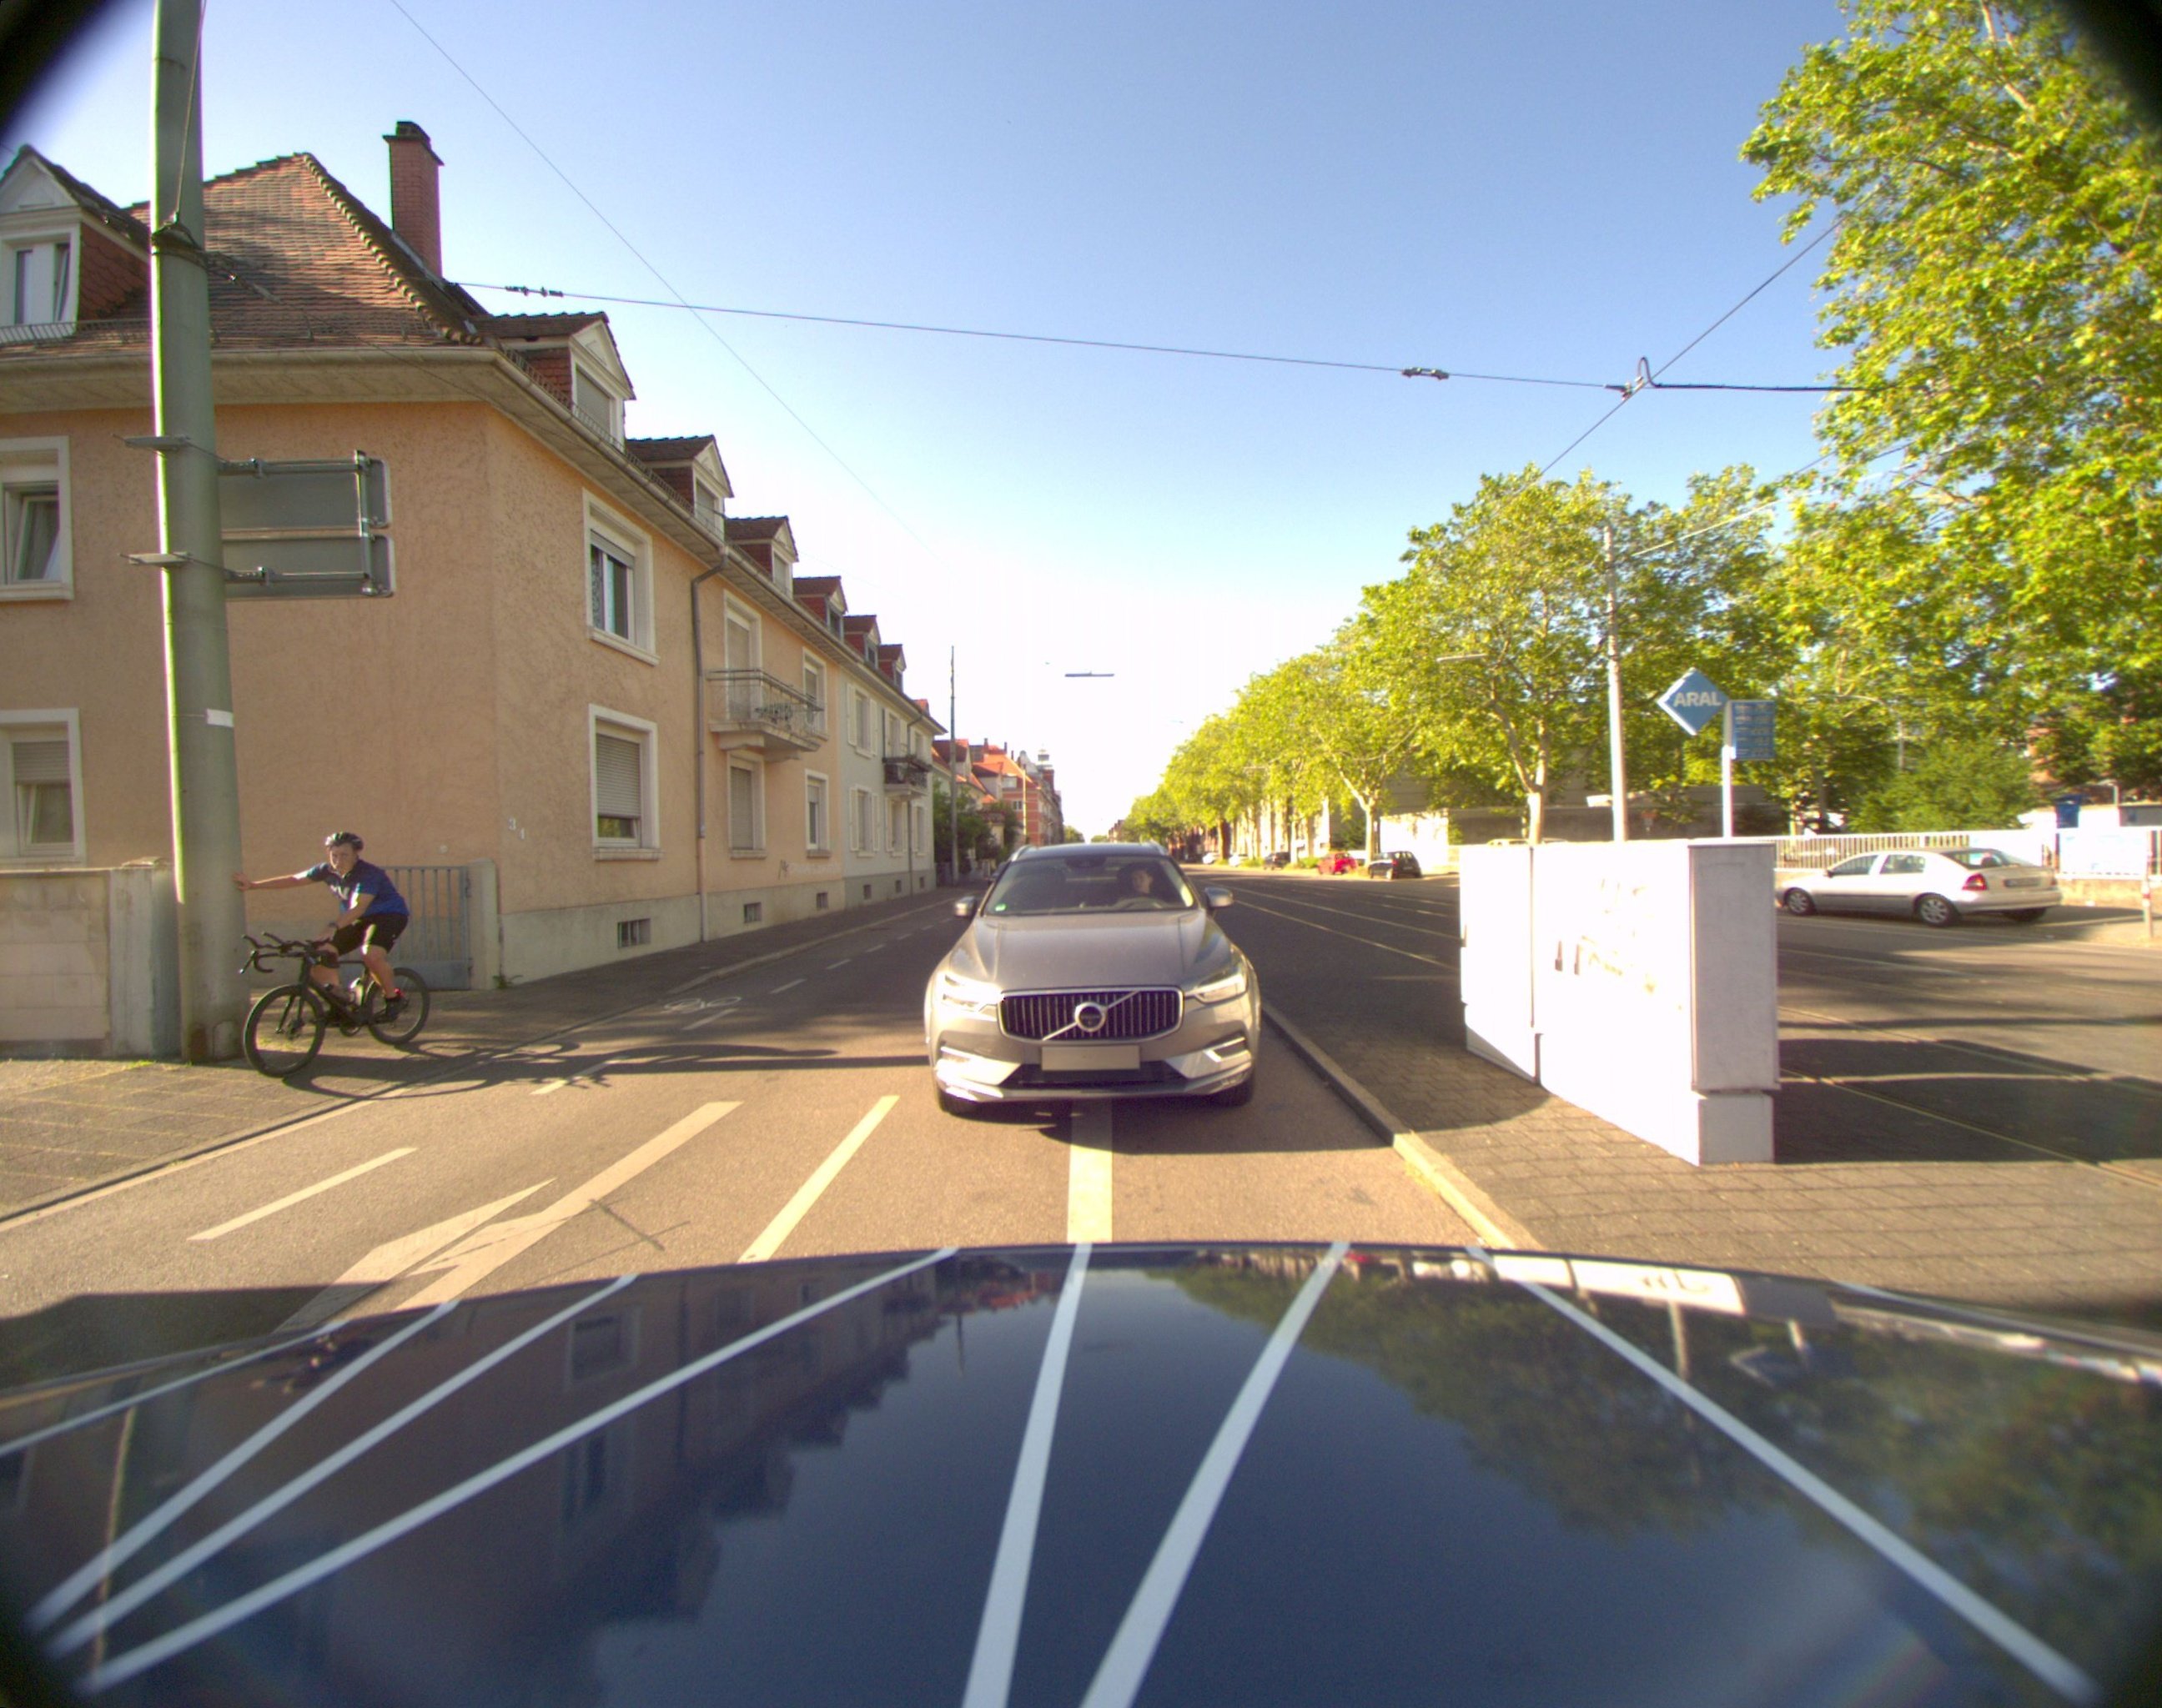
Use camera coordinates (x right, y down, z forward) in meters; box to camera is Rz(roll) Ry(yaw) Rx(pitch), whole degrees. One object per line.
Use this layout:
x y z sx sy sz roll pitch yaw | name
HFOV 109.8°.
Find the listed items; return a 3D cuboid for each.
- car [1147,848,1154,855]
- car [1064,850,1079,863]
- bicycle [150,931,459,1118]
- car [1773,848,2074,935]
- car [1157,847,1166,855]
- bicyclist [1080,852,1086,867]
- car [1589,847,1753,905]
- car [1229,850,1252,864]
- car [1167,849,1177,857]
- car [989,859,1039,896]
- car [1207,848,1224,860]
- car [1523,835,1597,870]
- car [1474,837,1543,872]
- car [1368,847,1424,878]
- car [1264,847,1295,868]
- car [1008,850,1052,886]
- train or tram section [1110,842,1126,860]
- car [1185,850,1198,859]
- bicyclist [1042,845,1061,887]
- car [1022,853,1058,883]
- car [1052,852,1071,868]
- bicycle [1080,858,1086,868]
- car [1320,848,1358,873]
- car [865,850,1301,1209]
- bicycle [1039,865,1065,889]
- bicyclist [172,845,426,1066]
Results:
19.682 -0.634 214.805 1.695 1.775 3.749 -3 0 1 | car
-1.275 0.360 107.101 1.793 1.673 3.814 -3 0 2 | car
-6.048 1.260 6.093 0.592 1.062 1.775 4 0 1 | bicycle
16.237 0.640 14.979 1.695 1.395 3.813 -3 0 1 | car
20.264 -0.737 191.411 1.695 1.775 3.749 -3 0 1 | car
0.213 0.588 85.797 0.685 1.611 0.855 -2 1 1 | bicyclist
16.423 0.559 21.414 1.695 1.395 3.749 -3 0 1 | car
17.479 0.289 83.541 1.695 1.440 3.749 -3 0 1 | car
19.290 -0.202 161.875 1.695 1.440 3.749 -3 0 1 | car
-3.210 1.082 37.046 1.695 1.571 3.815 -3 0 5 | car
17.810 0.021 100.712 1.695 1.440 3.749 -3 0 1 | car
23.893 -0.083 38.023 1.599 1.583 3.304 -2 0 1 | car
21.560 0.013 38.471 1.599 1.606 3.304 -2 0 1 | car
16.898 0.425 40.893 1.599 1.498 3.304 -3 0 1 | car
17.153 0.271 65.887 1.695 1.648 3.749 -3 0 1 | car
-2.810 0.740 42.819 1.793 1.828 5.149 -3 0 2 | car
7.767 -0.578 159.347 2.717 3.643 12.653 -1 0 0 | train or tram section
18.218 0.065 125.521 1.695 1.440 3.749 -3 0 1 | car
-1.383 0.576 35.976 0.518 1.922 0.947 -2 -2 21 | bicyclist
-2.571 0.852 48.484 1.793 1.673 3.814 -3 0 2 | car
-2.134 0.631 85.368 1.793 1.673 3.814 -3 0 2 | car
0.227 1.005 85.795 0.685 1.098 1.806 -2 1 1 | bicycle
16.891 0.433 49.864 1.599 1.498 2.622 -3 0 1 | car
0.041 0.827 5.752 1.998 1.628 4.306 -2 0 1 | car
-1.362 1.101 35.981 0.518 1.084 1.799 -2 -2 22 | bicycle
-6.243 0.761 6.134 1.051 1.599 0.885 4 0 1 | bicyclist
